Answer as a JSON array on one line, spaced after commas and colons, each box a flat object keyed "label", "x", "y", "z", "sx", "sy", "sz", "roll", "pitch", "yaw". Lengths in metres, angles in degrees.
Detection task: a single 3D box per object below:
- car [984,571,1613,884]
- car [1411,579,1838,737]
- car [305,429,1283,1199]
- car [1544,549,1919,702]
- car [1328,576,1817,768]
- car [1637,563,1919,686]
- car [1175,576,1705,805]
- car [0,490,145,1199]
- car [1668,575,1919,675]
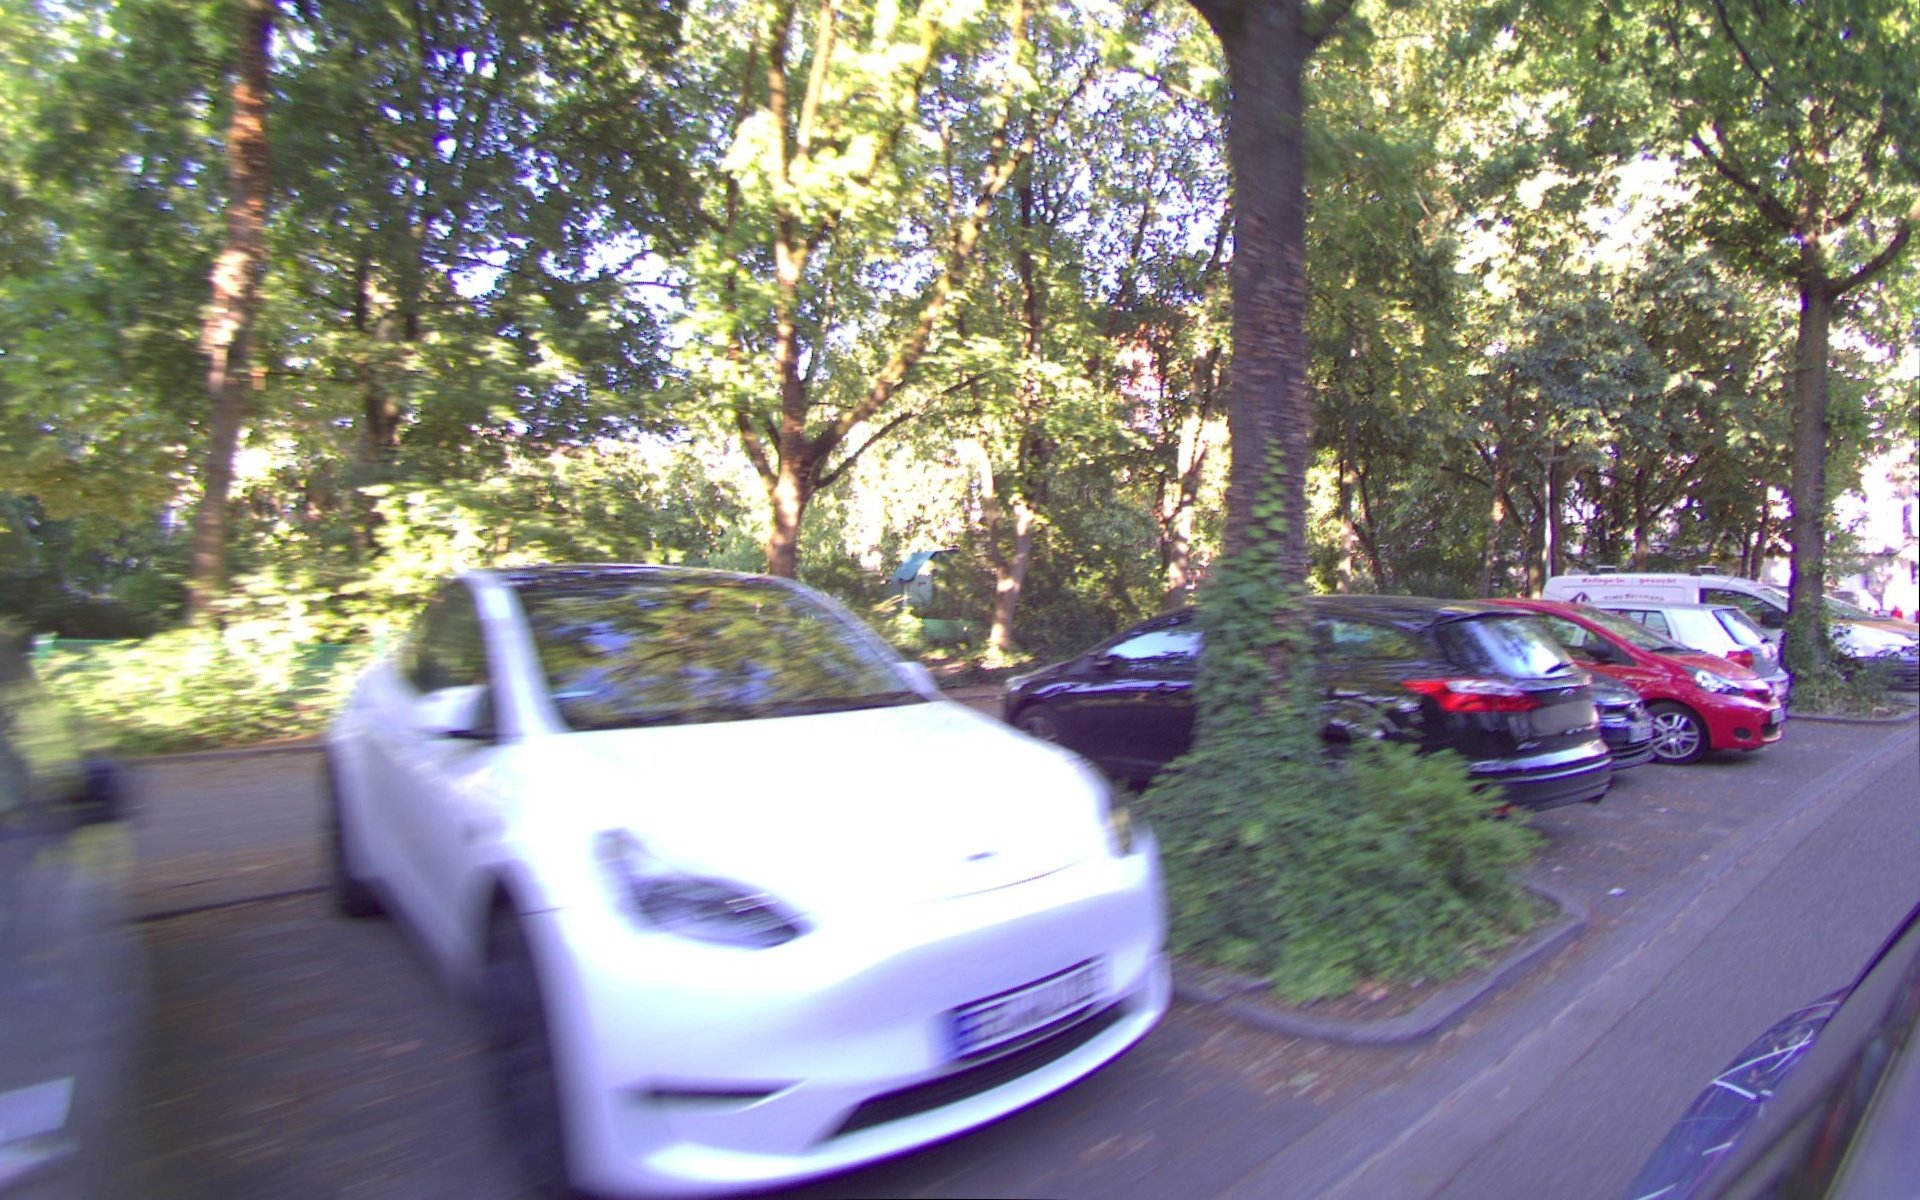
[{"label": "car", "x": 2.080, "y": 0.704, "z": 7.234, "sx": 1.559, "sy": 1.594, "sz": 4.028, "roll": 0, "pitch": -2, "yaw": -39}, {"label": "car", "x": 7.849, "y": 0.639, "z": 12.336, "sx": 1.634, "sy": 1.594, "sz": 3.998, "roll": -1, "pitch": -2, "yaw": -35}, {"label": "car", "x": -1.243, "y": 0.627, "z": 4.086, "sx": 1.873, "sy": 1.718, "sz": 4.541, "roll": 0, "pitch": -2, "yaw": -39}, {"label": "car", "x": 11.634, "y": 0.255, "z": 15.137, "sx": 1.839, "sy": 1.949, "sz": 4.682, "roll": 0, "pitch": 2, "yaw": -39}, {"label": "car", "x": 6.068, "y": 0.653, "z": 10.453, "sx": 1.559, "sy": 1.594, "sz": 3.994, "roll": 0, "pitch": -2, "yaw": -39}, {"label": "car", "x": 13.744, "y": 0.400, "z": 16.563, "sx": 1.764, "sy": 1.780, "sz": 4.000, "roll": -1, "pitch": -1, "yaw": -34}, {"label": "car", "x": 4.033, "y": 0.685, "z": 9.098, "sx": 1.559, "sy": 1.594, "sz": 3.994, "roll": 0, "pitch": -2, "yaw": -39}, {"label": "car", "x": -3.065, "y": 0.727, "z": 2.328, "sx": 1.843, "sy": 1.552, "sz": 4.382, "roll": 0, "pitch": -2, "yaw": -39}, {"label": "car", "x": 15.555, "y": 0.454, "z": 18.449, "sx": 1.768, "sy": 1.648, "sz": 3.992, "roll": 0, "pitch": -2, "yaw": -41}]
